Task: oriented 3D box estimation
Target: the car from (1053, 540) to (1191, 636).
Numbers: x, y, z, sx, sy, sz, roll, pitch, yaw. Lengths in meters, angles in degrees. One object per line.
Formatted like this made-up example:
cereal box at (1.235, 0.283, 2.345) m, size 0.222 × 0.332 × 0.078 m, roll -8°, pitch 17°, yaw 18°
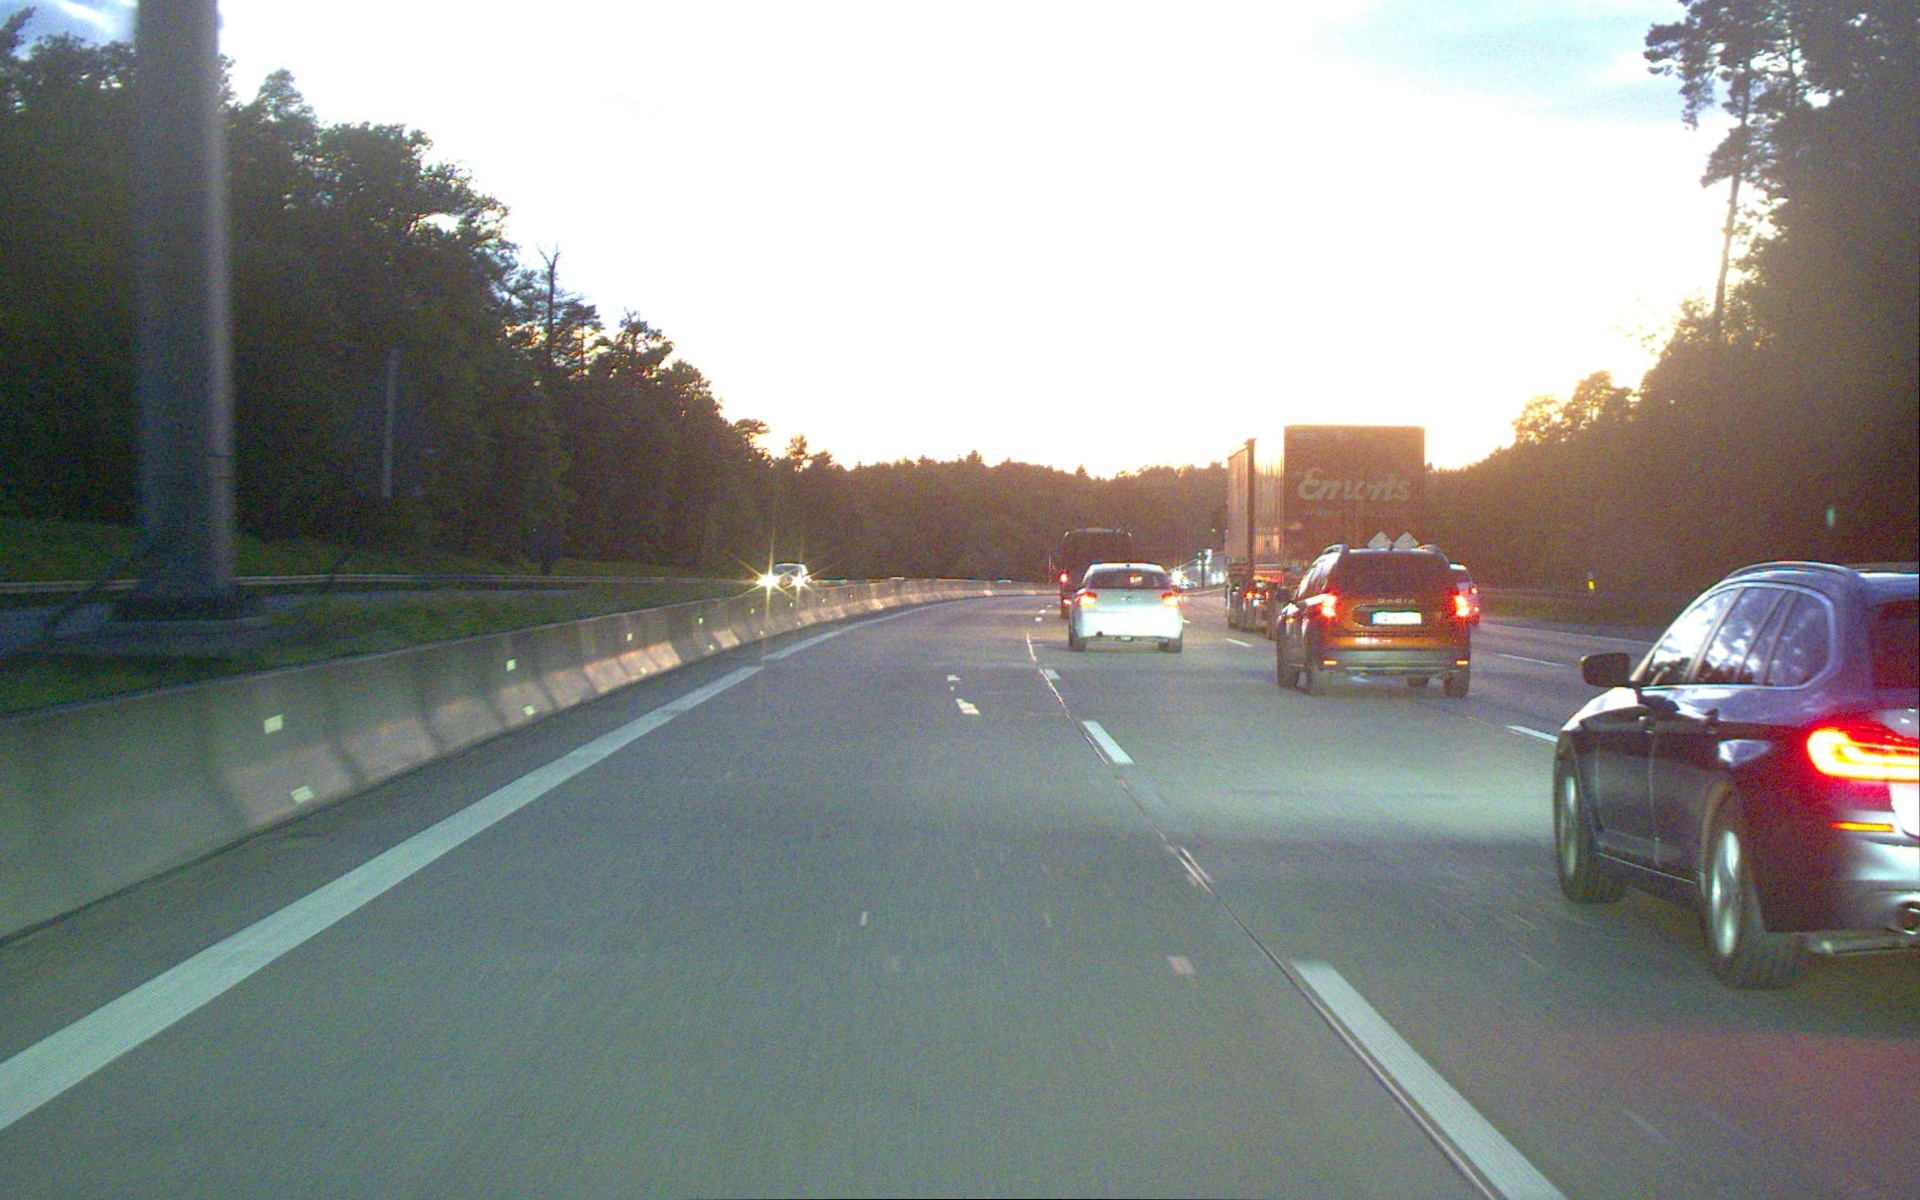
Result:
car at (2.601, -0.215, 56.080) m, size 1.859 × 1.437 × 3.721 m, roll 0°, pitch 2°, yaw -3°

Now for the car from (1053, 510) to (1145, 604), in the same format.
car at (3.732, -1.112, 91.161) m, size 2.166 × 2.410 × 5.563 m, roll 0°, pitch 0°, yaw 5°

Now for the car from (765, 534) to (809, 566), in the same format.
car at (-7.644, -2.228, 152.147) m, size 1.619 × 1.401 × 4.315 m, roll 0°, pitch 1°, yaw 2°

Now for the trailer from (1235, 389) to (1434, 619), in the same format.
trailer at (7.109, -1.735, 66.680) m, size 2.907 × 4.086 × 10.357 m, roll 1°, pitch 0°, yaw 1°

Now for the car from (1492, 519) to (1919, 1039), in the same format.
car at (3.458, 0.491, 13.177) m, size 1.909 × 1.532 × 5.232 m, roll 0°, pitch 2°, yaw -1°

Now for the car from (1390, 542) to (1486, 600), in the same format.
car at (12.162, -0.742, 87.623) m, size 1.859 × 1.437 × 4.112 m, roll 0°, pitch 0°, yaw 0°

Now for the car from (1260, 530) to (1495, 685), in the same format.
car at (4.659, 0.034, 39.066) m, size 1.903 × 1.638 × 5.053 m, roll 0°, pitch 1°, yaw -2°

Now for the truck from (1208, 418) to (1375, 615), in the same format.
truck at (7.320, -1.770, 77.223) m, size 2.885 × 4.086 × 10.831 m, roll 1°, pitch 0°, yaw 1°
